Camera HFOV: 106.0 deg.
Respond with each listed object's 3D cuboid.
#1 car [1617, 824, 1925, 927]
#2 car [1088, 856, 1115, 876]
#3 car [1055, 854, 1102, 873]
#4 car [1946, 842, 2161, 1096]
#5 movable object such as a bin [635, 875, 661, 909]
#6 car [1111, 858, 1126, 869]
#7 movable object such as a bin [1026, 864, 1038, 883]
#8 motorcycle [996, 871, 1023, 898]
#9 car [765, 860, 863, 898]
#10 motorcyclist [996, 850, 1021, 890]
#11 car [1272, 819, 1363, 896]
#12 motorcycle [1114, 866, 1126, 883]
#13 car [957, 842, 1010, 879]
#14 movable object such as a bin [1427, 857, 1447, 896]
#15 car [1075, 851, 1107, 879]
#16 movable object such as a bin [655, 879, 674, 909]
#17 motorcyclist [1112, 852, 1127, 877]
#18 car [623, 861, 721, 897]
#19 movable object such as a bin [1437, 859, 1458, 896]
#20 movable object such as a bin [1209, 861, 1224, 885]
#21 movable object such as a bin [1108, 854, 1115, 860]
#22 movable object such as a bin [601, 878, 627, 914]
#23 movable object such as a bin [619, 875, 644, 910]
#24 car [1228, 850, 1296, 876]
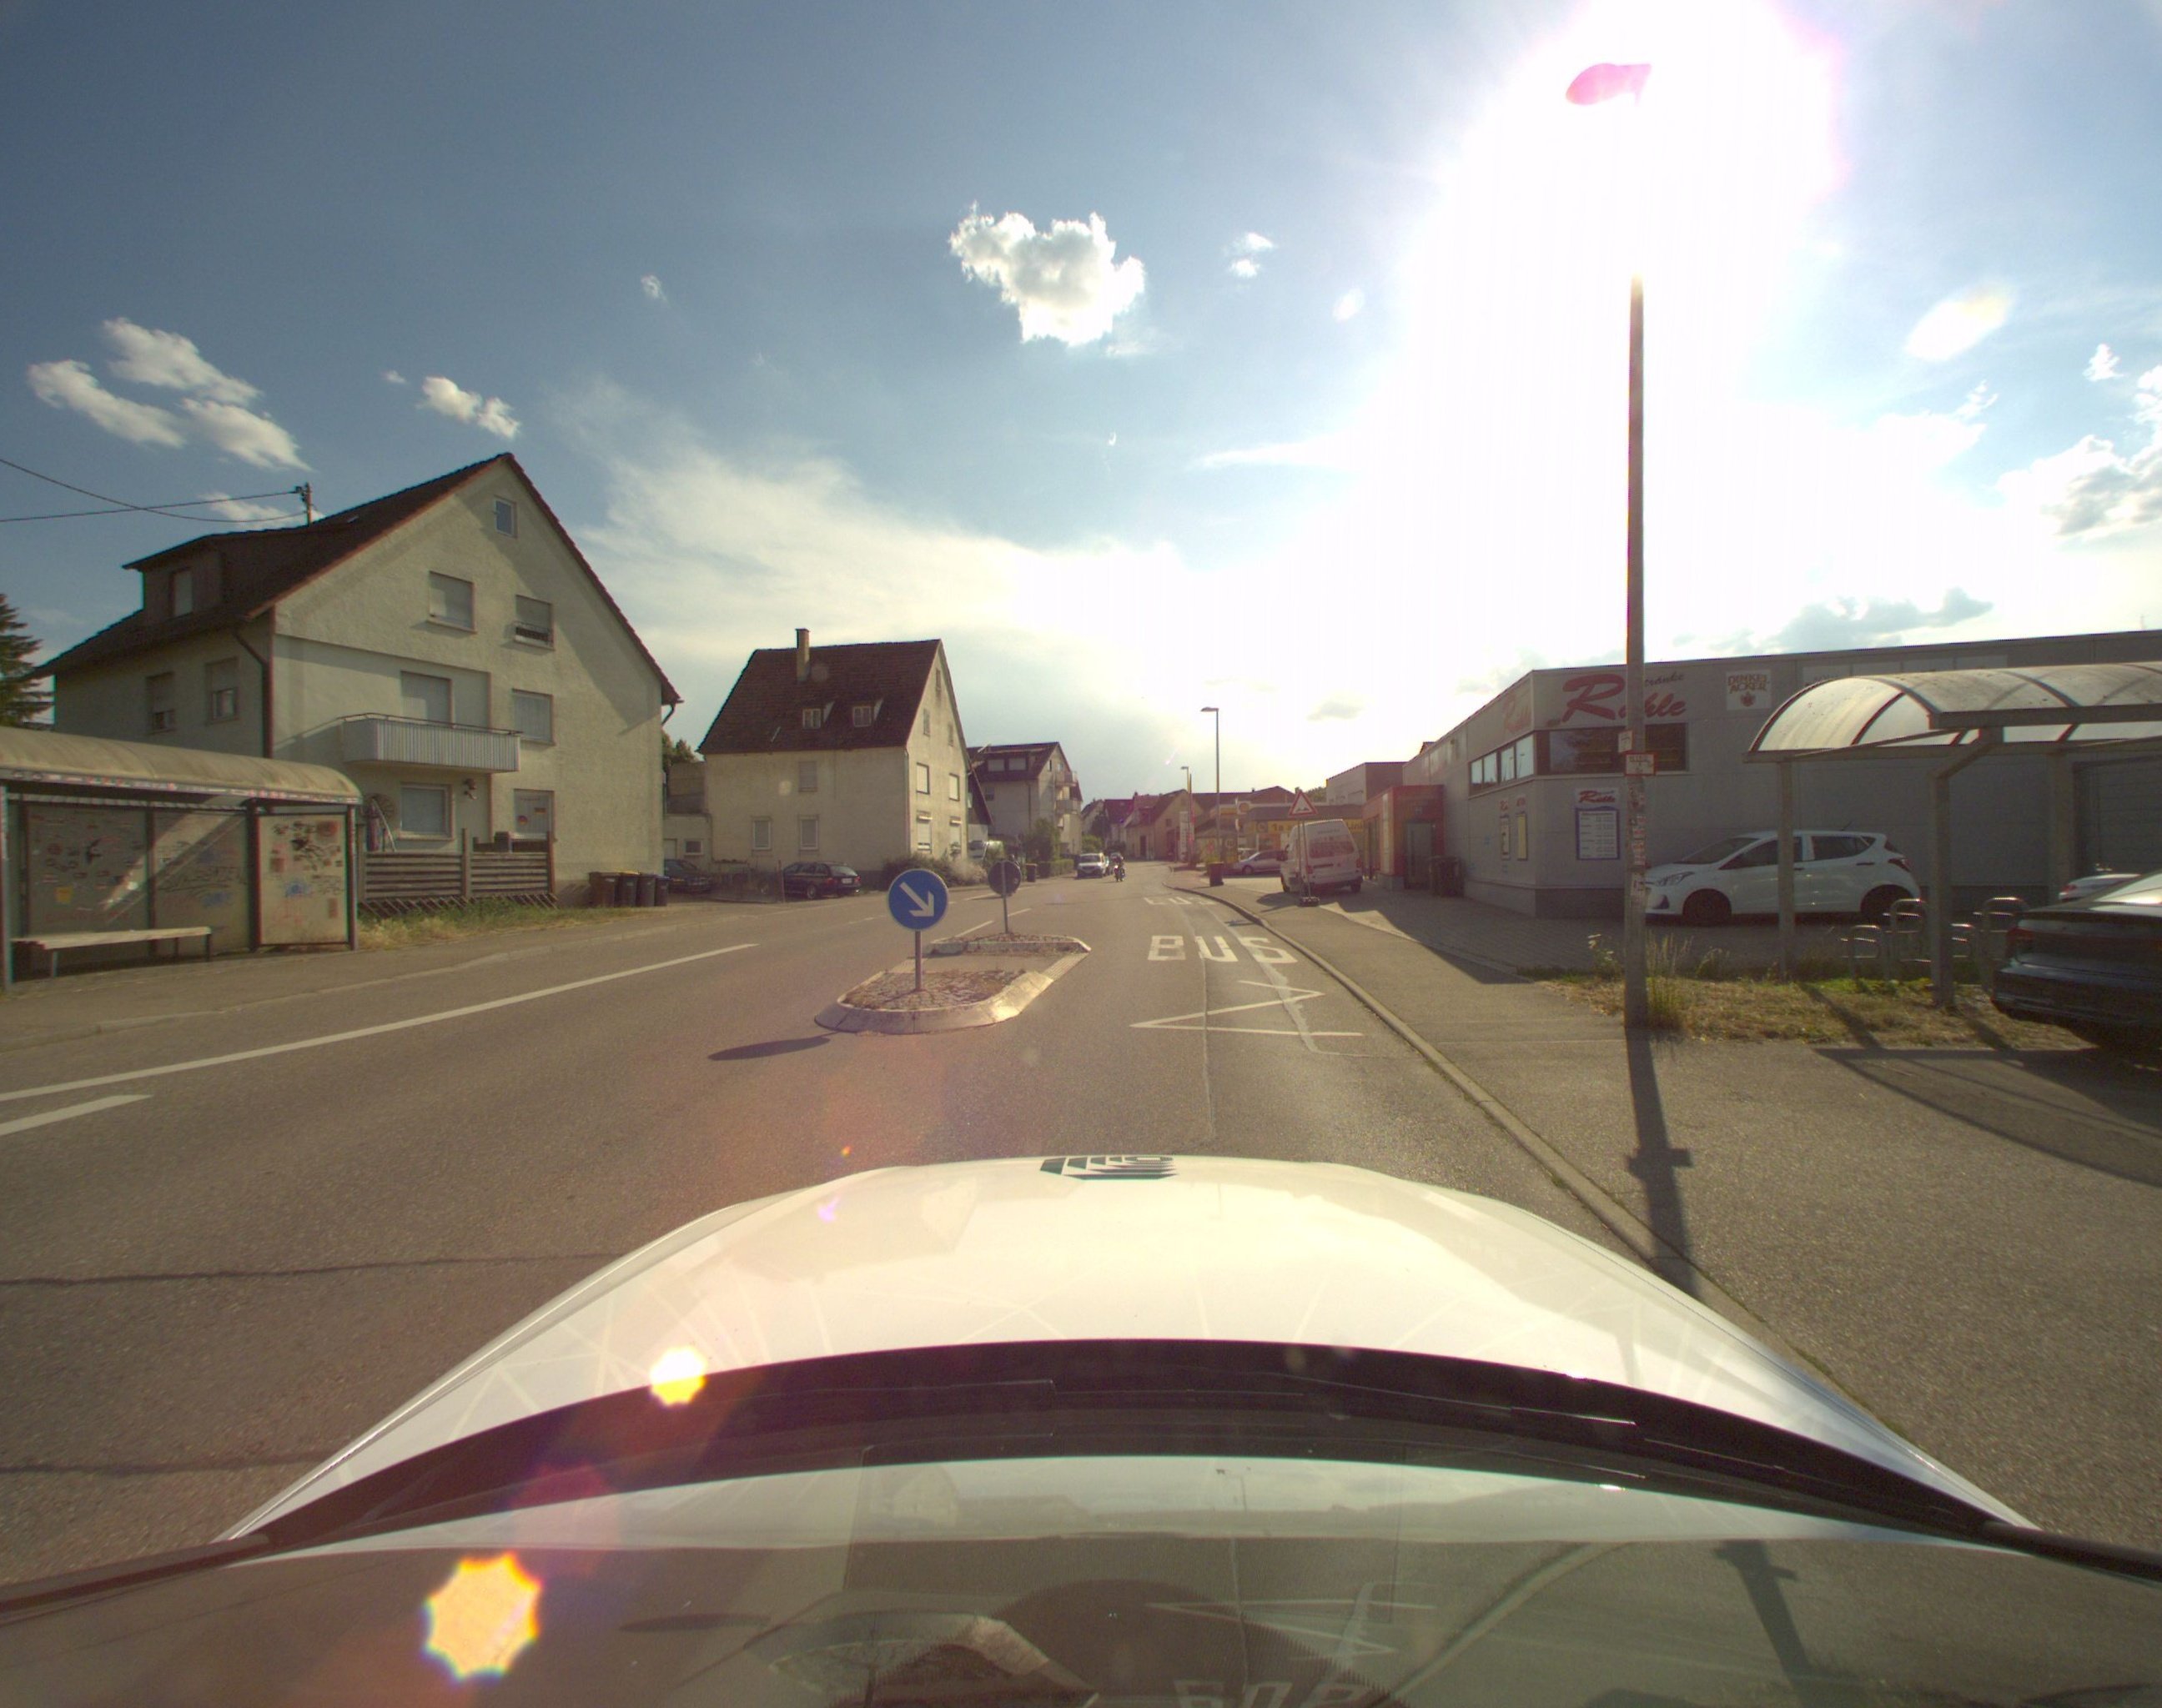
[{"bbox_3d":[11.161,0.351,13.434,3.529,1.457,1.504,-3,0,15],"label":"car"},{"bbox_3d":[1.661,0.939,64.154,1.664,1.451,3.842,-2,0,7],"label":"car"},{"bbox_3d":[-0.240,0.871,75.829,3.956,1.538,1.771,3,1,17],"label":"car"},{"bbox_3d":[8.200,0.579,4.795,4.039,1.417,1.630,-3,-1,10],"label":"car"},{"bbox_3d":[-13.188,1.156,24.798,0.358,1.023,0.580,-1,-2,23],"label":"movable object such as a bin"},{"bbox_3d":[4.916,1.251,108.541,1.704,1.435,3.778,-3,0,-1],"label":"car"},{"bbox_3d":[-2.900,1.139,48.142,0.607,1.101,0.577,0,-1,6],"label":"movable object such as a bin"},{"bbox_3d":[-2.800,1.169,32.019,0.535,1.012,2.033,1,-1,10],"label":"motorcycle"},{"bbox_3d":[-10.870,0.978,33.077,3.948,1.433,1.664,0,0,33],"label":"car"},{"bbox_3d":[-2.830,0.637,31.878,0.732,1.527,1.019,2,-1,9],"label":"motorcyclist"},{"bbox_3d":[8.141,0.119,28.505,1.829,2.375,5.182,-2,0,3],"label":"car"},{"bbox_3d":[2.338,1.206,48.787,0.521,1.012,2.033,0,-1,9],"label":"motorcycle"},{"bbox_3d":[-7.176,0.442,60.925,2.144,2.596,6.112,0,0,11],"label":"car"},{"bbox_3d":[9.846,0.624,22.531,0.426,1.042,0.491,-1,0,14],"label":"movable object such as a bin"},{"bbox_3d":[0.758,0.775,58.502,1.707,1.872,4.200,-2,0,7],"label":"car"},{"bbox_3d":[-12.925,1.232,25.269,0.358,0.925,0.402,-1,-2,23],"label":"movable object such as a bin"},{"bbox_3d":[2.302,0.617,48.732,0.798,1.436,1.039,0,0,9],"label":"motorcyclist"},{"bbox_3d":[-17.154,1.010,34.156,3.949,1.361,1.696,0,0,28],"label":"car"},{"bbox_3d":[9.797,0.616,21.805,0.426,0.966,0.432,-1,0,14],"label":"movable object such as a bin"},{"bbox_3d":[6.110,0.860,36.696,0.565,1.075,0.573,-2,0,2],"label":"movable object such as a bin"},{"bbox_3d":[5.914,0.506,157.790,1.159,1.168,0.653,-1,0,-7],"label":"movable object such as a bin"},{"bbox_3d":[-13.594,1.219,23.705,0.358,1.016,0.561,-1,-2,23],"label":"movable object such as a bin"},{"bbox_3d":[-13.374,1.136,24.231,0.358,1.041,0.561,-1,-2,23],"label":"movable object such as a bin"},{"bbox_3d":[11.489,0.543,51.802,3.971,1.531,1.529,-2,0,2],"label":"car"}]
